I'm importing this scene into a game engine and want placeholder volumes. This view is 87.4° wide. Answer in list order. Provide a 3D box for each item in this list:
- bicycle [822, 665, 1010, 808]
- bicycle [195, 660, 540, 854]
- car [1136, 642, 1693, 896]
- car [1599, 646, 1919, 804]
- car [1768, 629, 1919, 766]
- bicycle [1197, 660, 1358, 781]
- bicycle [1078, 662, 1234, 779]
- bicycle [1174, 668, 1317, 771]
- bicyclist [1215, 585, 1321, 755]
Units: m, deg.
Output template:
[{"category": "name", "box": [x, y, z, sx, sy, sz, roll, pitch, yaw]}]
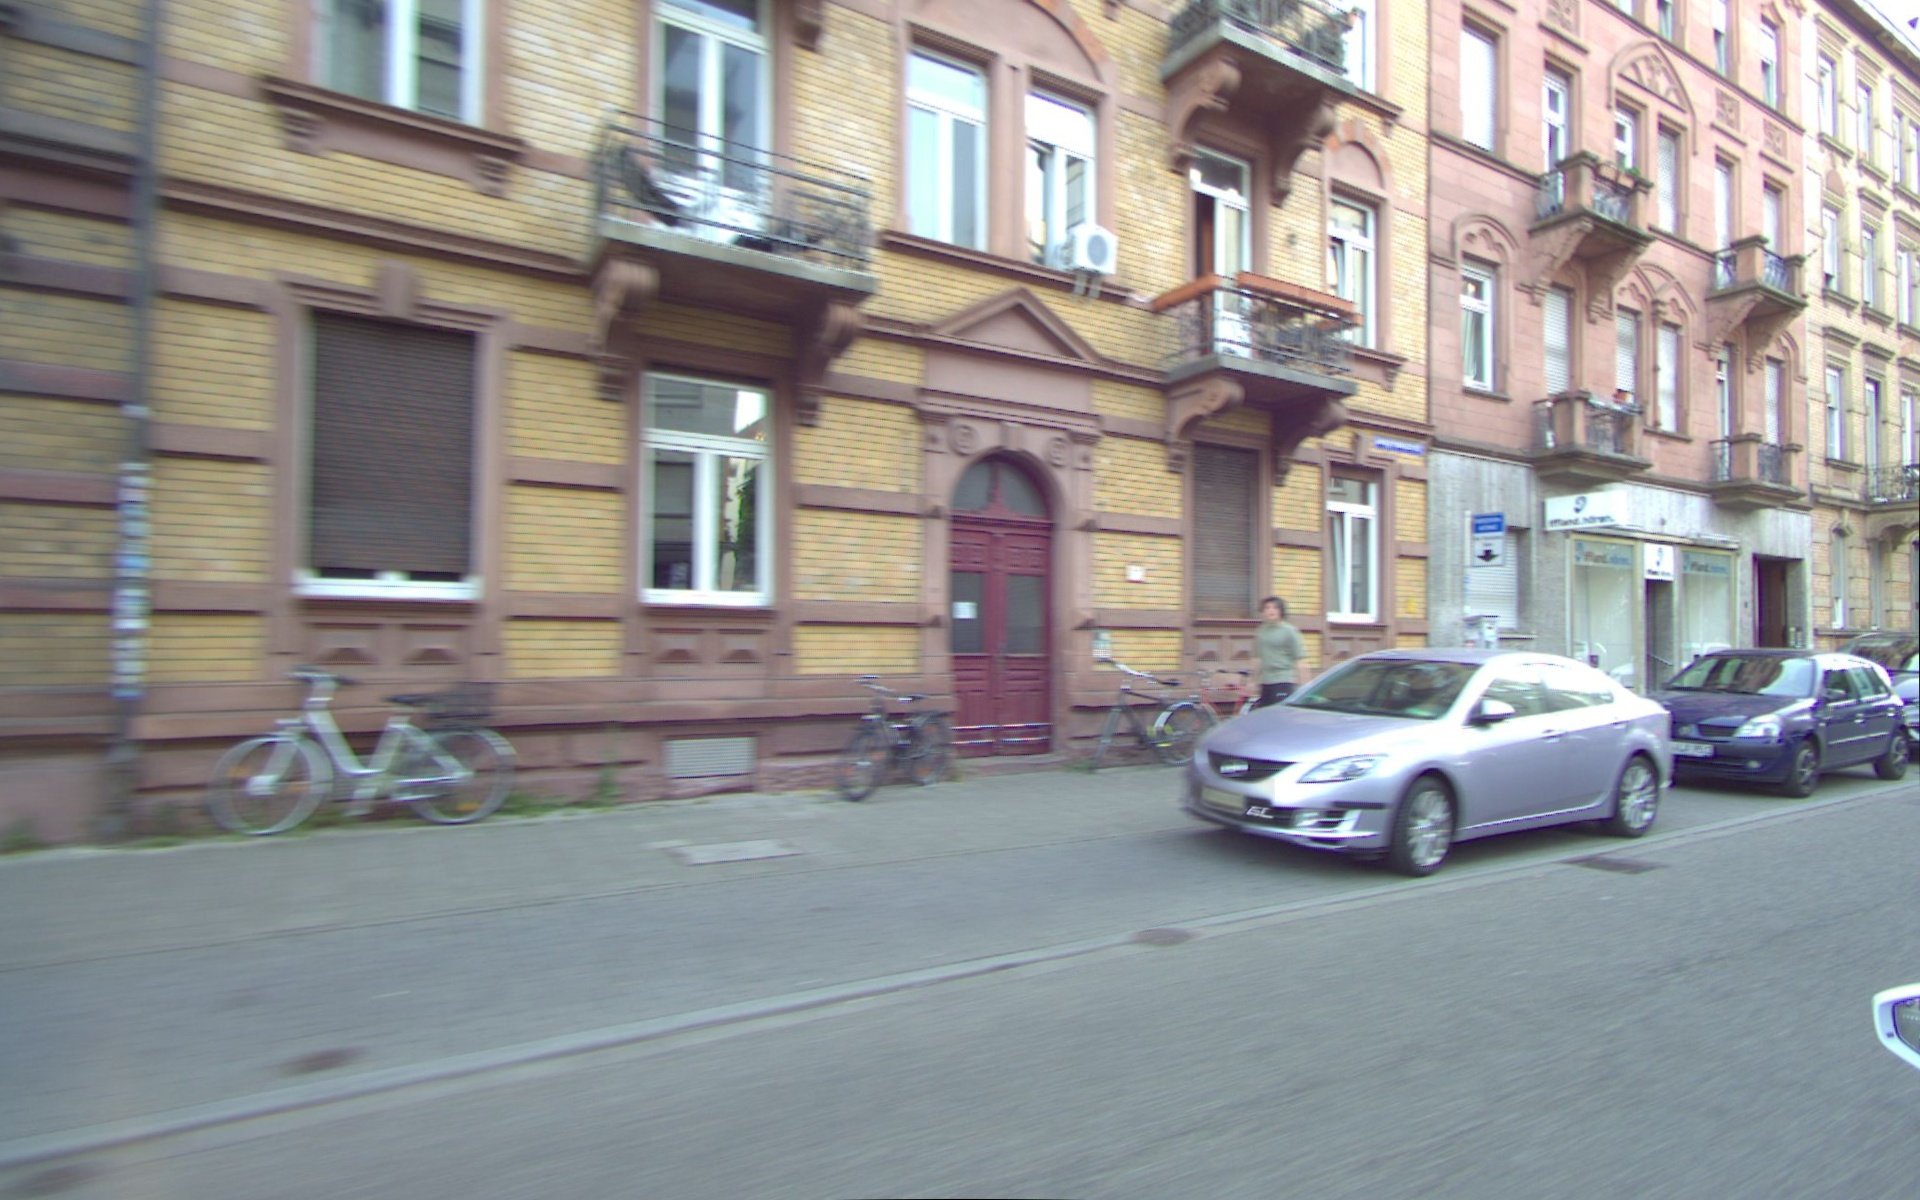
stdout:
[{"category": "bicycle", "box": [-0.383, 1.200, 9.246, 1.596, 1.138, 0.732, 1, -1, -38]}, {"category": "bicycle", "box": [-4.095, 1.041, 7.110, 2.022, 1.186, 0.525, 1, 0, -28]}, {"category": "car", "box": [3.665, 1.091, 7.826, 4.530, 1.439, 1.714, 2, -1, -31]}, {"category": "car", "box": [8.861, 1.251, 11.084, 3.653, 1.439, 1.577, 1, -1, -30]}, {"category": "car", "box": [13.264, 1.248, 13.926, 4.395, 1.655, 1.844, 1, -1, -31]}, {"category": "bicycle", "box": [3.491, 1.285, 10.992, 1.721, 1.212, 0.704, 3, -2, -30]}, {"category": "bicycle", "box": [2.158, 1.275, 10.984, 1.739, 1.138, 0.546, 1, 1, -31]}, {"category": "bicycle", "box": [3.344, 1.358, 11.699, 1.739, 1.051, 0.546, 1, 1, -31]}, {"category": "bicyclist", "box": [3.347, 0.750, 10.922, 0.833, 1.752, 0.704, 3, -2, -30]}]
